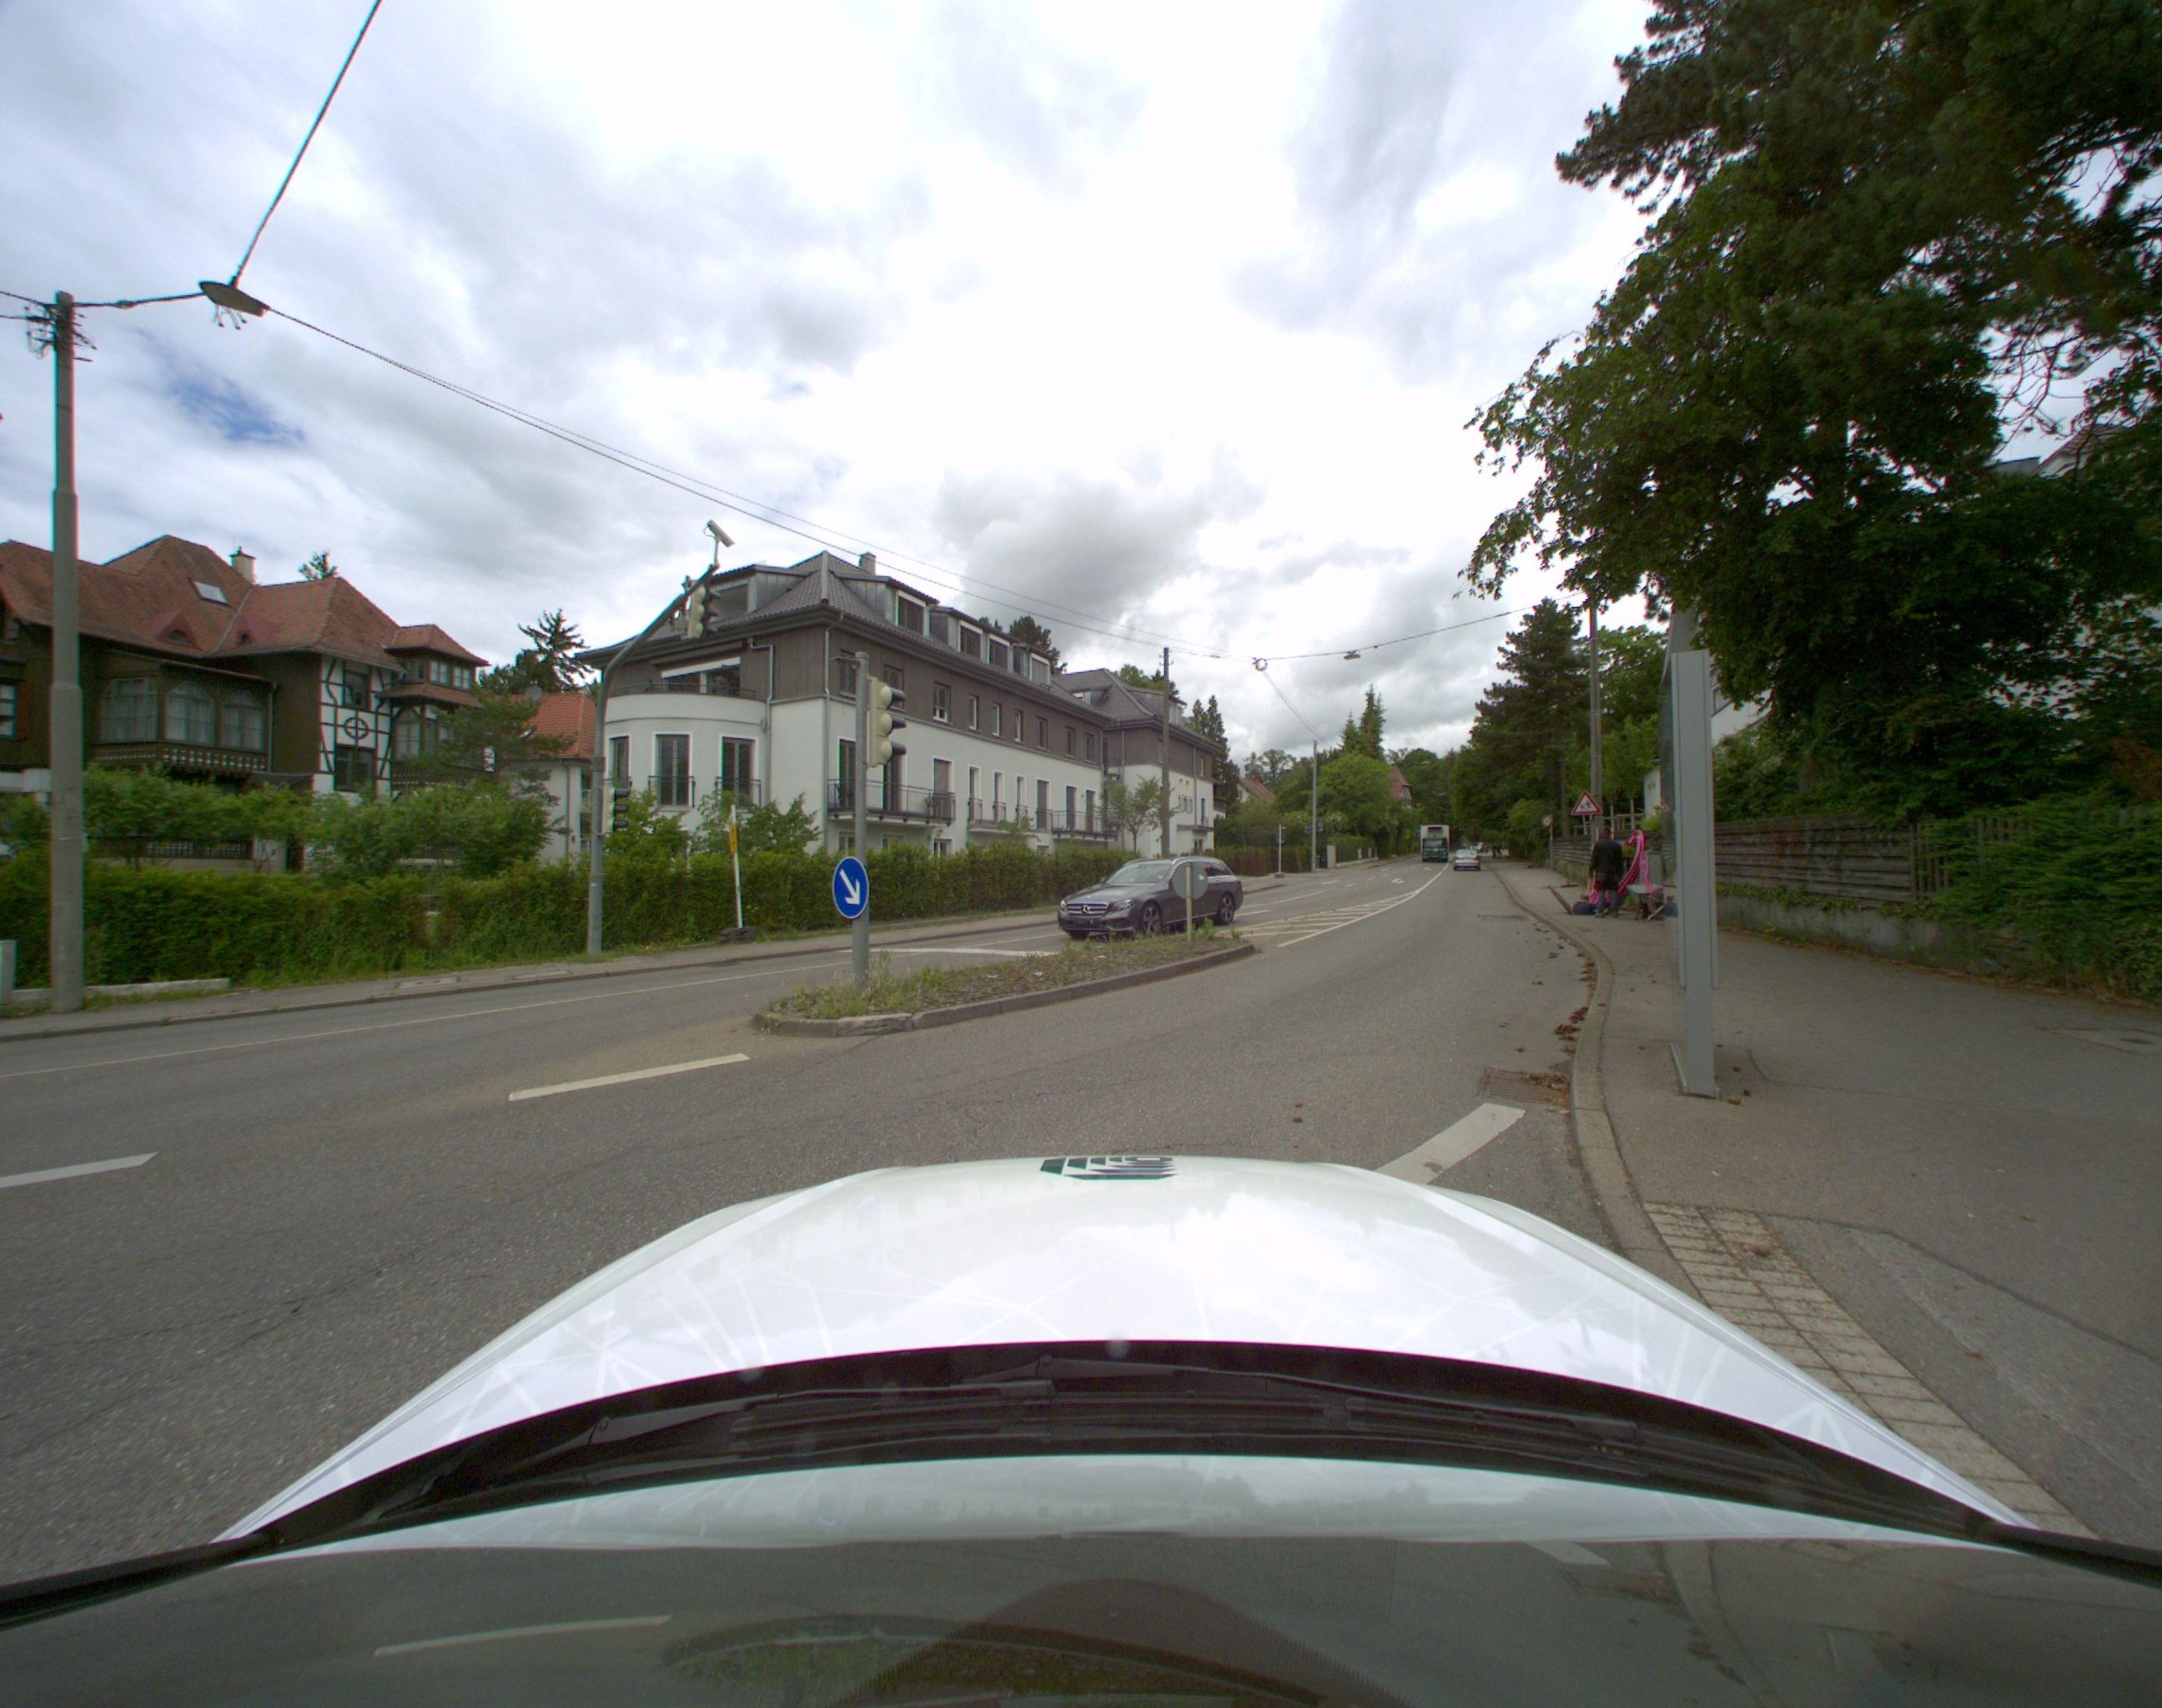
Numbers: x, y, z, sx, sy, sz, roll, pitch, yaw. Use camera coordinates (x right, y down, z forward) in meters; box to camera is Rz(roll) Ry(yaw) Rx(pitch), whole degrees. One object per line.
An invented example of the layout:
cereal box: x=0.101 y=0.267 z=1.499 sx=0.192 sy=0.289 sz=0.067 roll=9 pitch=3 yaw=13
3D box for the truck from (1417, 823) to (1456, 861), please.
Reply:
truck: x=34.610 y=-1.105 z=79.489 sx=2.755 sy=3.461 sz=7.529 roll=-1 pitch=-1 yaw=18

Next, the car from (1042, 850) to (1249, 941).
car: x=1.477 y=0.737 z=16.552 sx=1.807 sy=1.485 sz=4.778 roll=-3 pitch=0 yaw=38

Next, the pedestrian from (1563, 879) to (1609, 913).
pedestrian: x=11.173 y=0.920 z=18.029 sx=0.646 sy=0.696 sz=0.582 roll=-1 pitch=0 yaw=-15

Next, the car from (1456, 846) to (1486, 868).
car: x=26.586 y=0.194 z=55.515 sx=1.780 sy=1.415 sz=4.361 roll=-1 pitch=-1 yaw=26

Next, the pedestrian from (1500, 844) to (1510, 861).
pedestrian: x=43.190 y=-0.157 z=82.986 sx=0.799 sy=1.807 sz=0.745 roll=-1 pitch=0 yaw=25

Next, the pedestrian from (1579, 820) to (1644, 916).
pedestrian: x=11.018 y=0.282 z=16.941 sx=0.841 sy=1.923 sz=0.803 roll=-1 pitch=0 yaw=6
